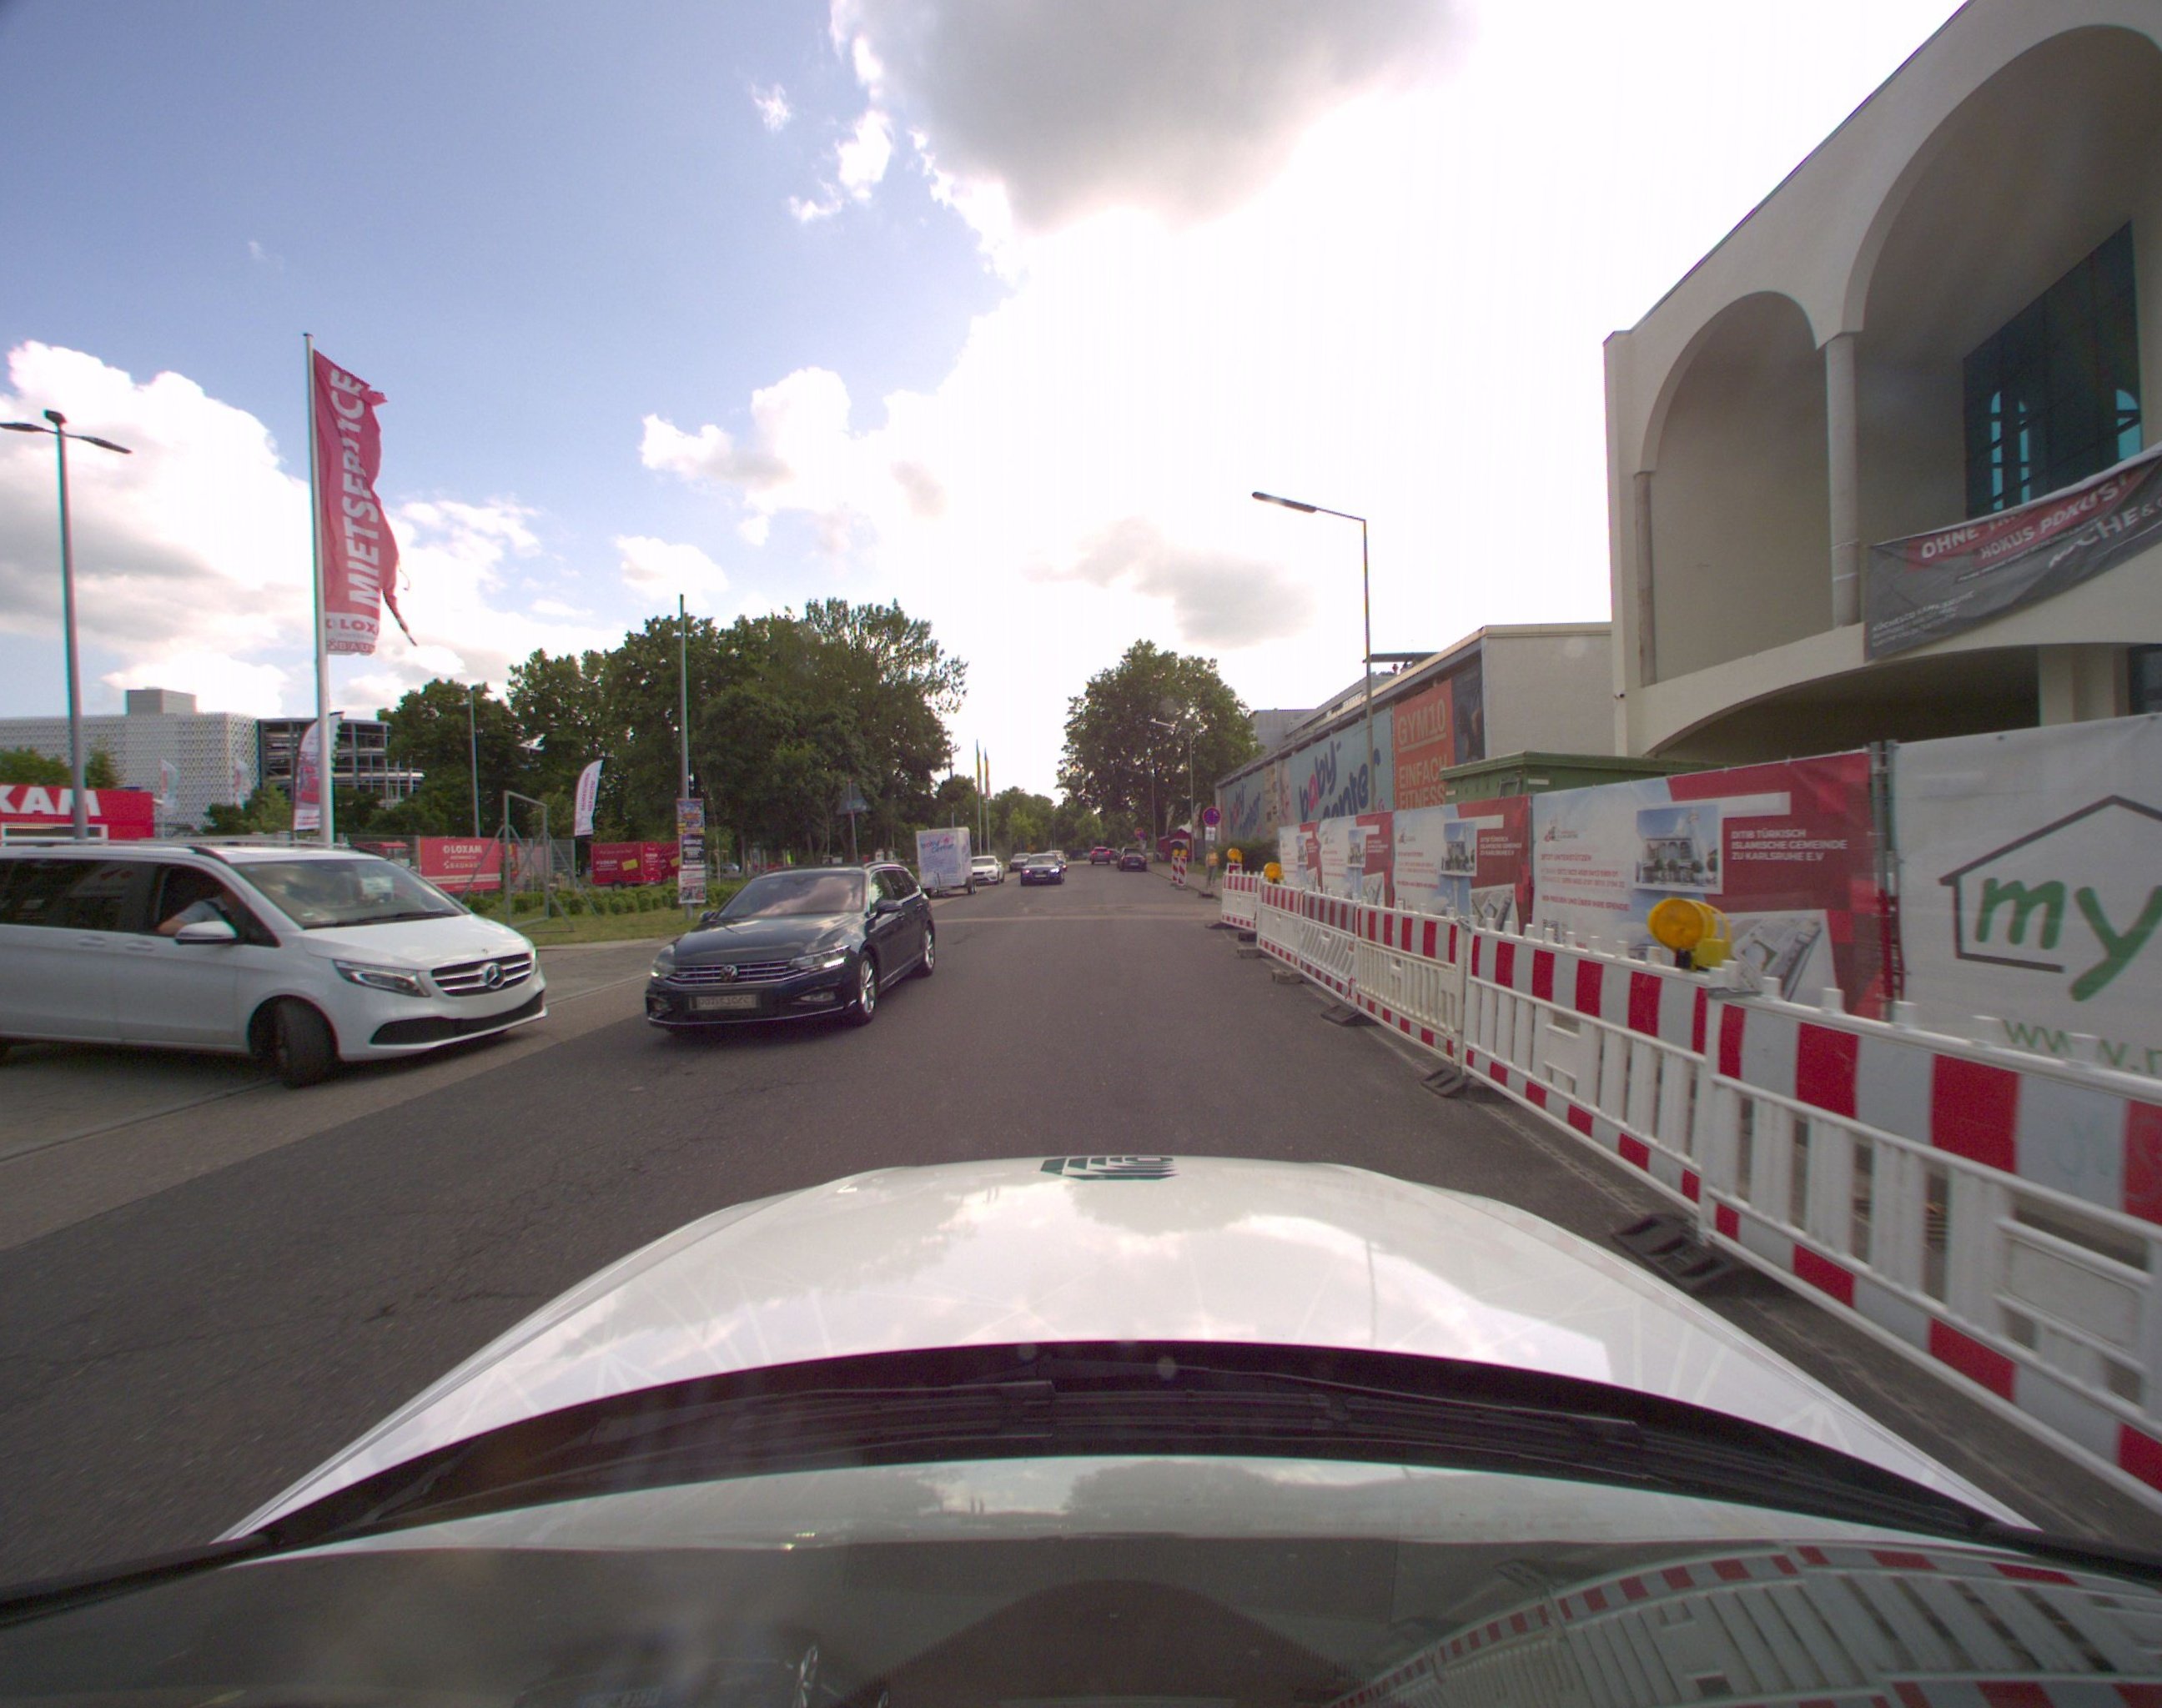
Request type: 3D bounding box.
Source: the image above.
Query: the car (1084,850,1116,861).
[{"bbox_3d":[2.508,0.185,108.054,4.208,1.406,1.923,-2,0,-2],"label":"car"}]

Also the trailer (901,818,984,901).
[{"bbox_3d":[-5.169,0.191,31.113,2.132,2.783,4.703,-4,0,1],"label":"trailer"}]

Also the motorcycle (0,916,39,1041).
[{"bbox_3d":[-11.881,1.298,7.910,2.213,1.213,0.995,-2,0,1],"label":"motorcycle"}]

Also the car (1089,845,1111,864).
[{"bbox_3d":[1.855,0.032,81.616,1.956,1.815,4.274,-2,0,-1],"label":"car"}]

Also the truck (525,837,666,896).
[{"bbox_3d":[-23.295,0.611,39.198,5.731,2.594,1.816,-2,-2,2],"label":"truck"}]

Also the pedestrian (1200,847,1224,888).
[{"bbox_3d":[5.098,0.515,31.758,0.680,1.534,1.128,-1,0,-4],"label":"pedestrian"}]

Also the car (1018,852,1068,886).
[{"bbox_3d":[-1.687,0.639,37.652,1.916,1.377,4.381,-2,0,1],"label":"car"}]

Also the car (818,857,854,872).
[{"bbox_3d":[-39.581,1.686,131.716,5.273,2.211,1.796,-2,0,-3],"label":"car"}]

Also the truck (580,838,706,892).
[{"bbox_3d":[-22.733,0.601,42.386,5.527,2.594,1.779,-2,-2,1],"label":"truck"}]

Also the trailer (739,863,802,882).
[{"bbox_3d":[-22.490,1.333,59.033,3.797,1.190,1.718,-2,1,6],"label":"trailer"}]

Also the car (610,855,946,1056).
[{"bbox_3d":[-2.771,0.808,8.659,1.790,1.459,4.386,-3,0,1],"label":"car"}]

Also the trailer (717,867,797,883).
[{"bbox_3d":[-22.421,1.446,56.448,4.572,0.912,2.191,-2,1,6],"label":"trailer"}]

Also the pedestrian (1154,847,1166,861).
[{"bbox_3d":[7.568,0.024,77.843,1.008,1.314,0.967,-2,0,9],"label":"pedestrian"}]

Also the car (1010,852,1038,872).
[{"bbox_3d":[-4.553,0.652,65.981,1.703,1.420,4.334,-4,0,2],"label":"car"}]

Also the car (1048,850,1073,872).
[{"bbox_3d":[-1.476,0.474,59.138,1.585,1.465,3.761,-3,0,0],"label":"car"}]

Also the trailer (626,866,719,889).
[{"bbox_3d":[-22.385,1.278,44.765,4.222,1.121,1.671,-2,-2,-1],"label":"trailer"}]

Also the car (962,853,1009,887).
[{"bbox_3d":[-4.819,0.791,41.558,1.760,1.479,4.234,-4,0,0],"label":"car"}]

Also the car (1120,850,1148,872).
[{"bbox_3d":[3.643,0.449,56.722,1.801,1.391,4.591,1,0,2],"label":"car"}]

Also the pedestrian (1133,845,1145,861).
[{"bbox_3d":[6.553,-0.100,92.417,1.003,1.849,1.222,-1,0,-17],"label":"pedestrian"}]

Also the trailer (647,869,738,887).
[{"bbox_3d":[-22.457,1.402,47.179,4.222,0.913,2.158,-2,-2,-1],"label":"trailer"}]

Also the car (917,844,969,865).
[{"bbox_3d":[-18.212,0.053,107.818,6.361,2.578,2.206,-2,1,0],"label":"car"}]

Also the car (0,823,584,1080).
[{"bbox_3d":[-7.601,0.799,7.417,4.975,1.949,1.996,-2,0,6],"label":"car"}]

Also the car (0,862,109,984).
[{"bbox_3d":[-18.922,1.138,12.896,4.526,1.845,2.111,-2,0,2],"label":"car"}]
